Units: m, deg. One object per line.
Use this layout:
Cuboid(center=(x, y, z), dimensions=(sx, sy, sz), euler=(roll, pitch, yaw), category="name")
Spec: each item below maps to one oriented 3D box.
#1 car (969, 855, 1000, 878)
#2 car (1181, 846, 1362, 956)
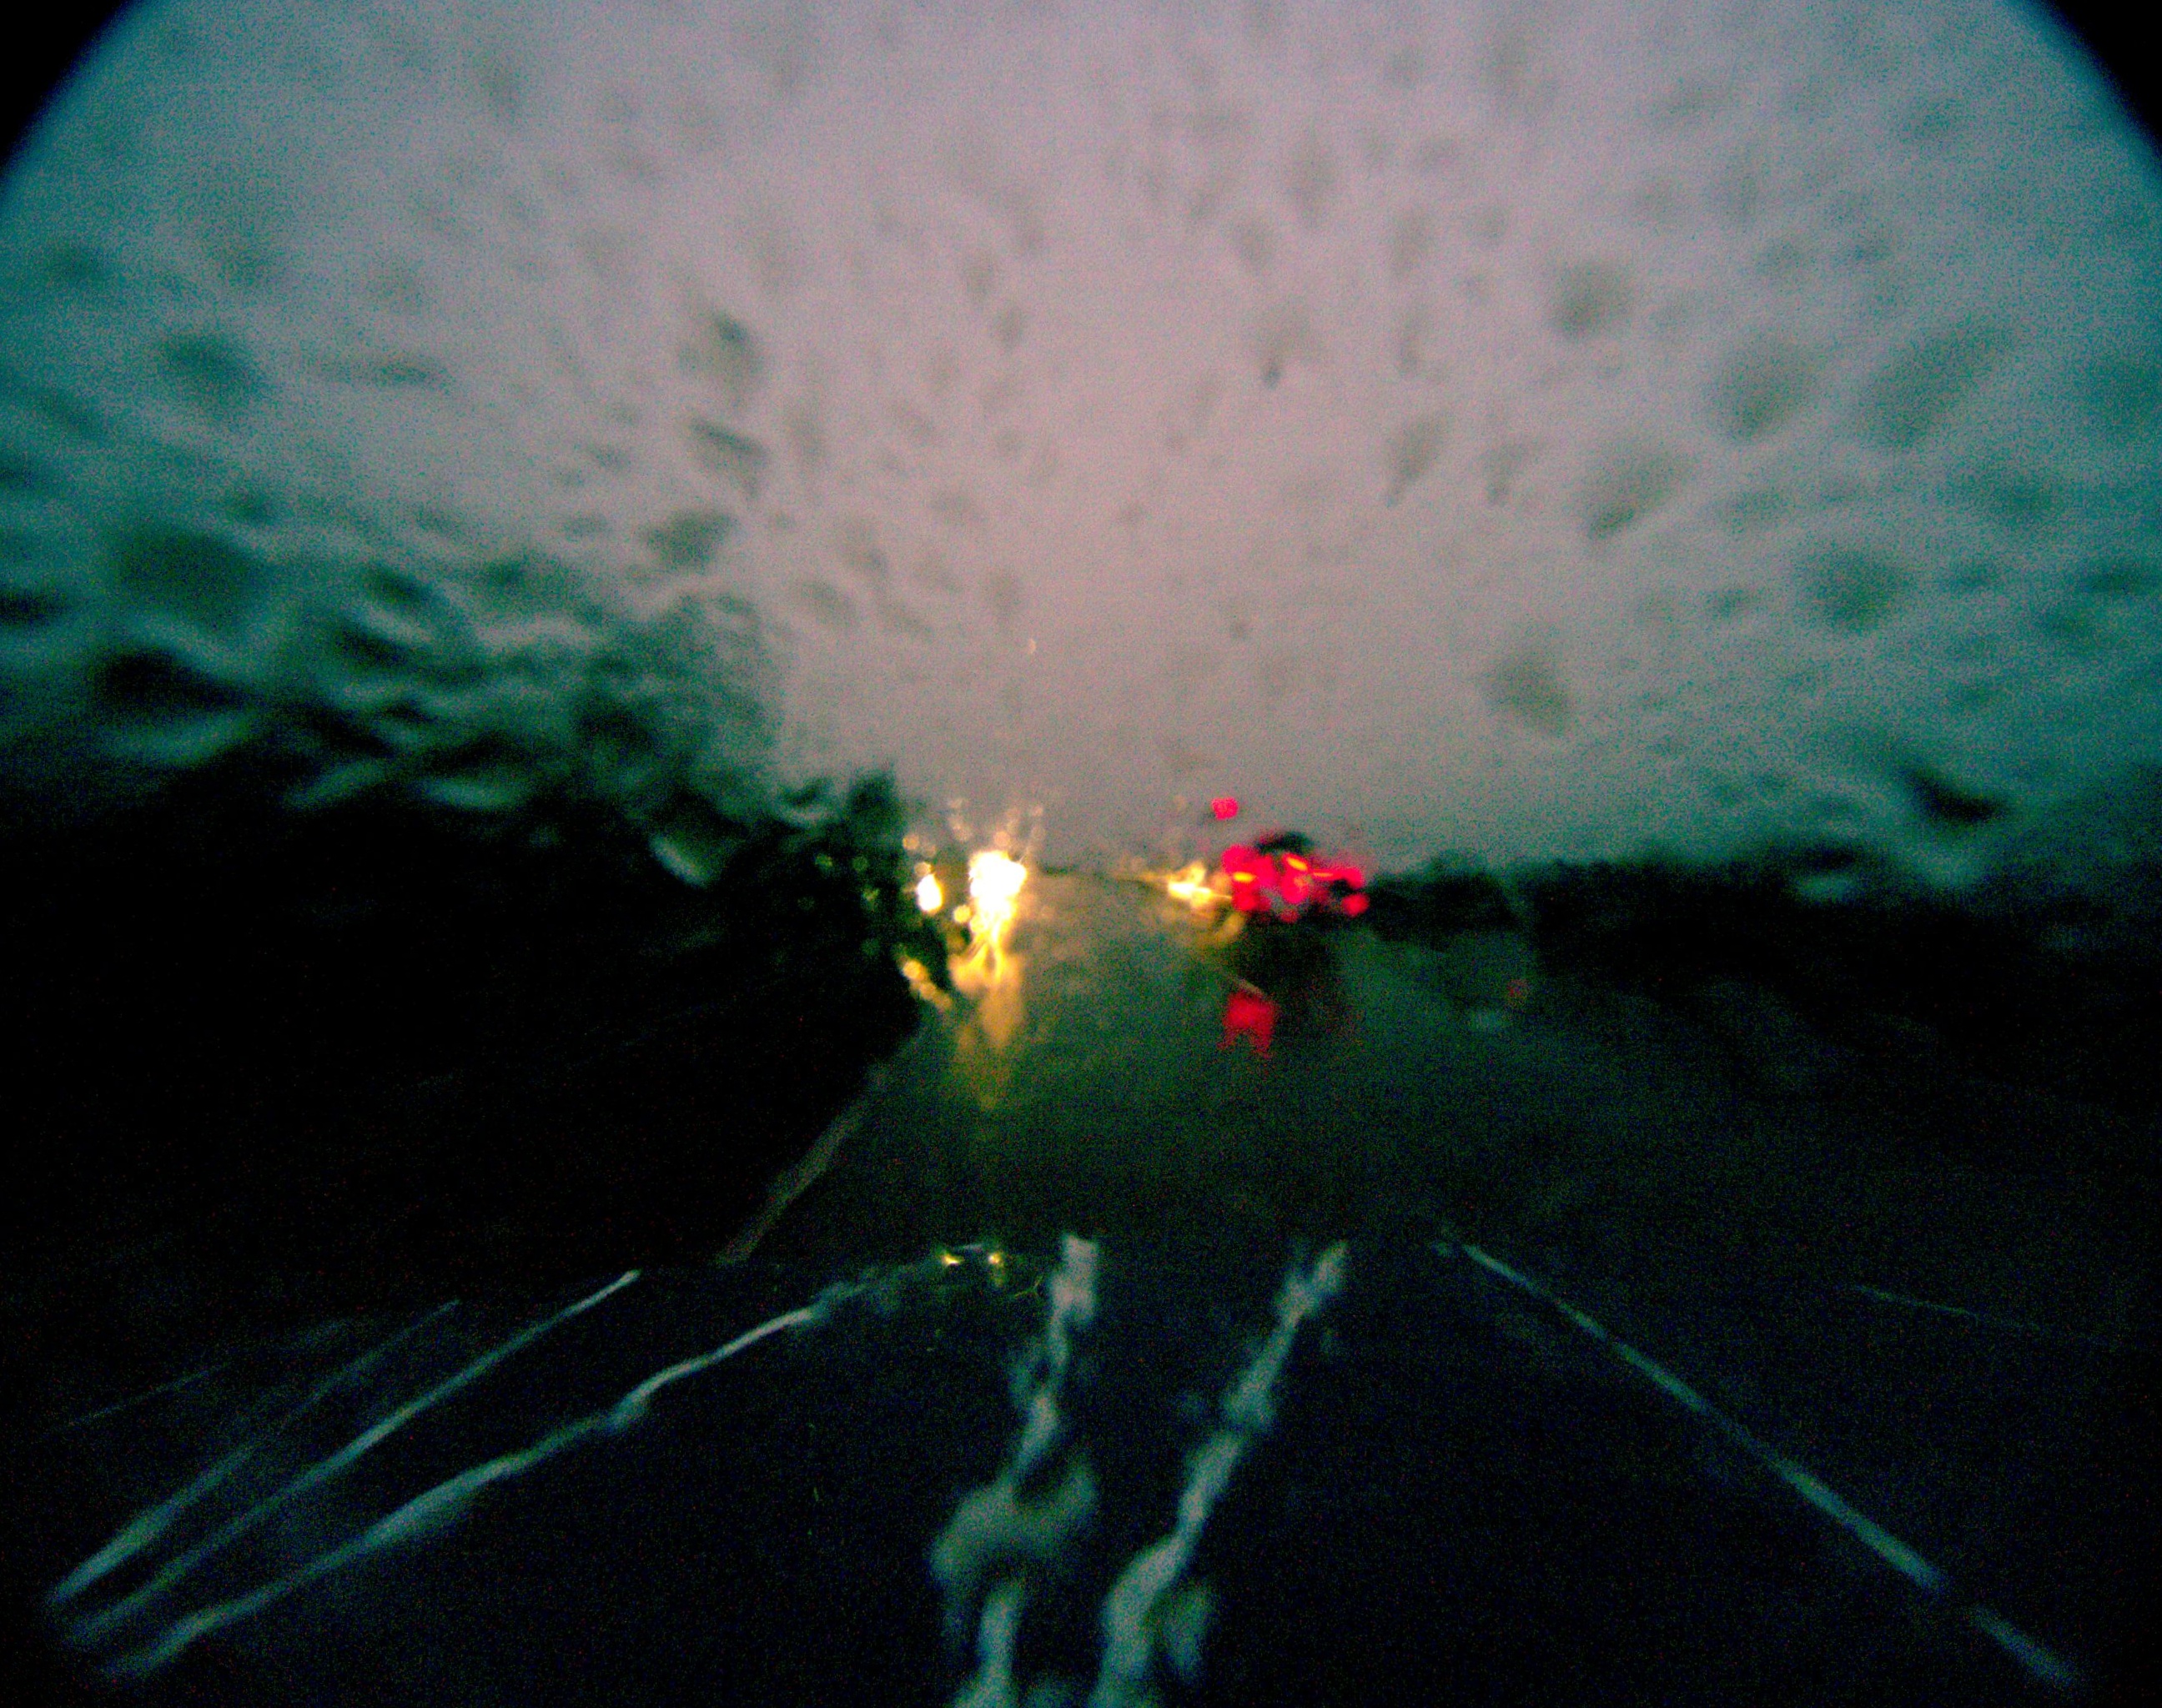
Cuboid(center=(-7.487, 0.995, 58.586), dimensions=(2.104, 1.565, 4.797), euler=(1, -3, -11), category="car")
Cuboid(center=(3.211, 0.721, 13.929), dimensions=(2.016, 1.625, 4.873), euler=(-1, 0, -1), category="car")
